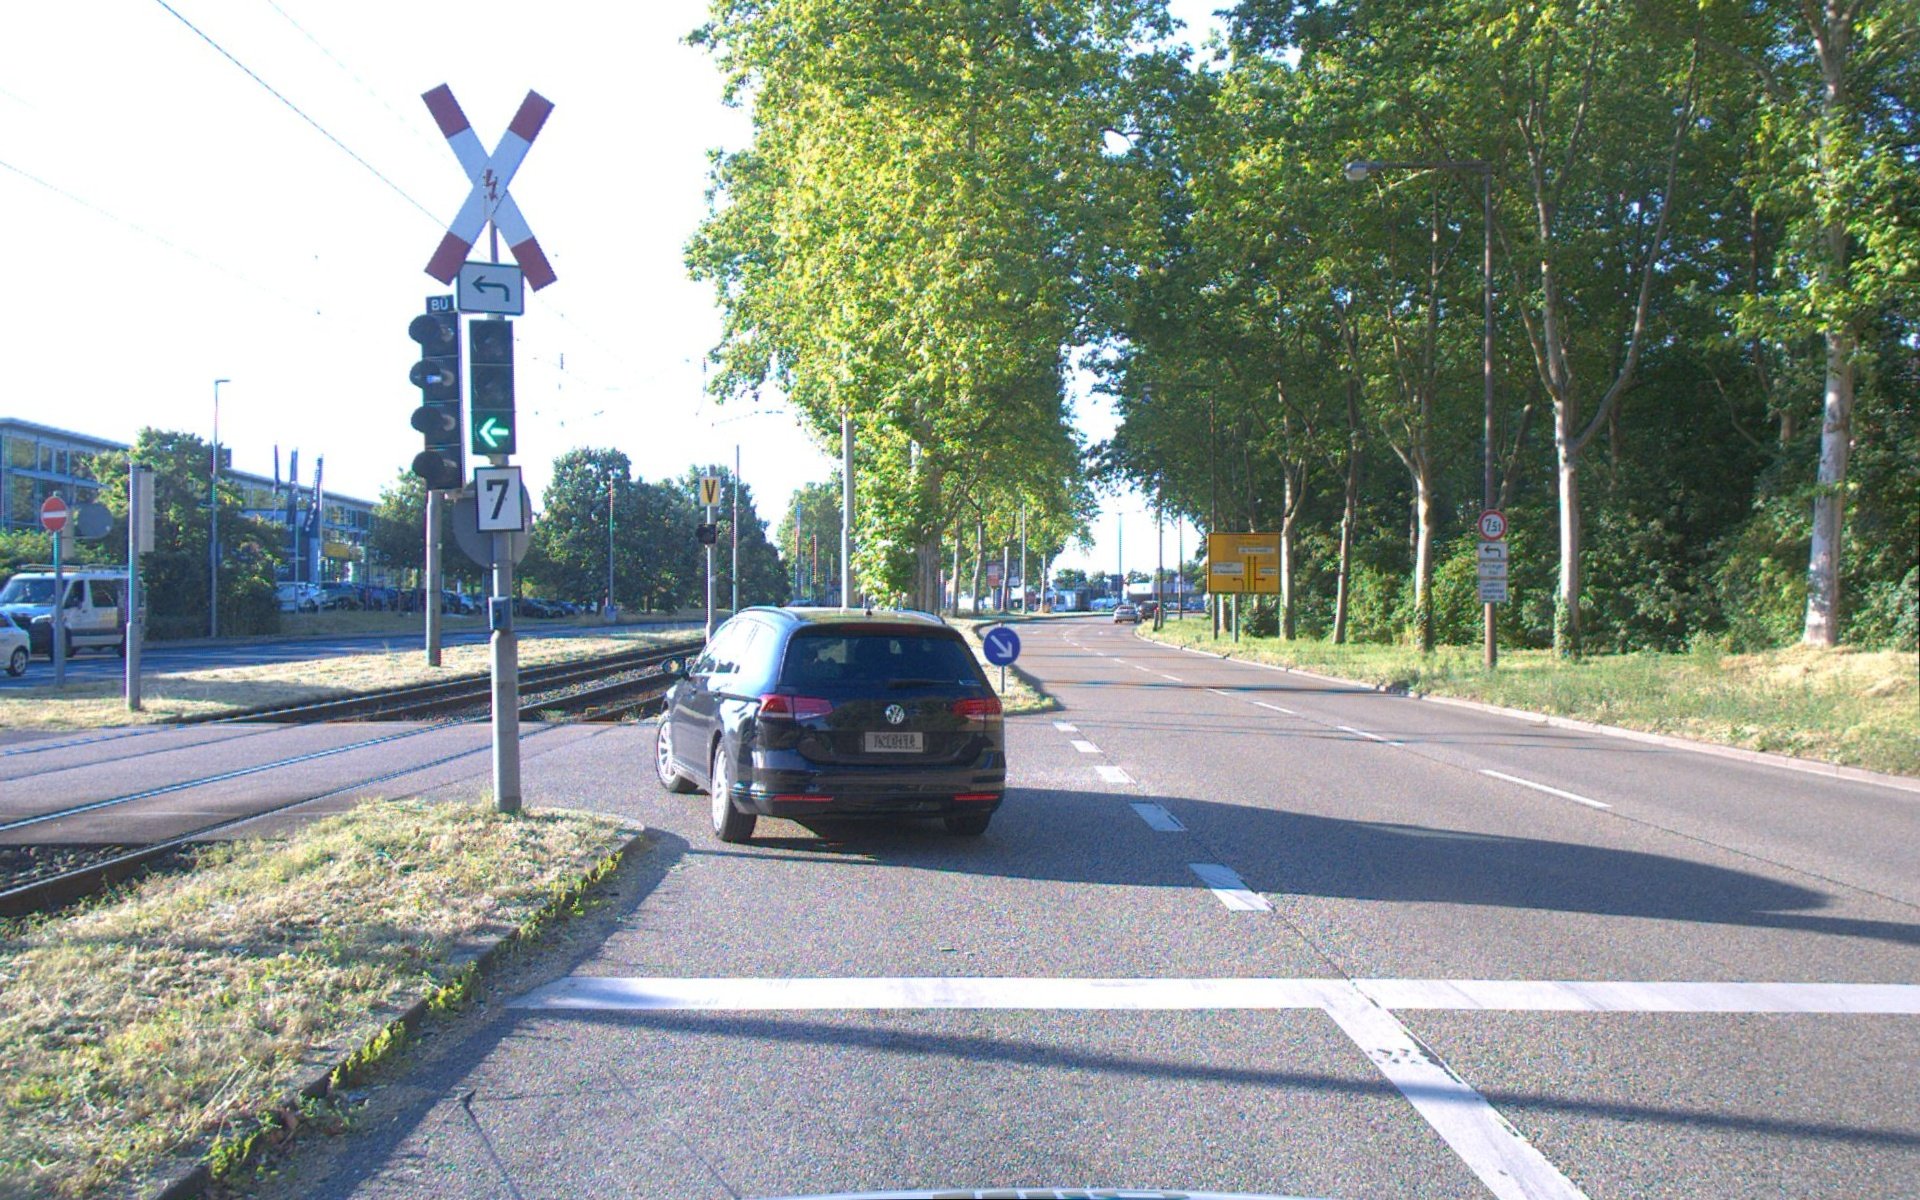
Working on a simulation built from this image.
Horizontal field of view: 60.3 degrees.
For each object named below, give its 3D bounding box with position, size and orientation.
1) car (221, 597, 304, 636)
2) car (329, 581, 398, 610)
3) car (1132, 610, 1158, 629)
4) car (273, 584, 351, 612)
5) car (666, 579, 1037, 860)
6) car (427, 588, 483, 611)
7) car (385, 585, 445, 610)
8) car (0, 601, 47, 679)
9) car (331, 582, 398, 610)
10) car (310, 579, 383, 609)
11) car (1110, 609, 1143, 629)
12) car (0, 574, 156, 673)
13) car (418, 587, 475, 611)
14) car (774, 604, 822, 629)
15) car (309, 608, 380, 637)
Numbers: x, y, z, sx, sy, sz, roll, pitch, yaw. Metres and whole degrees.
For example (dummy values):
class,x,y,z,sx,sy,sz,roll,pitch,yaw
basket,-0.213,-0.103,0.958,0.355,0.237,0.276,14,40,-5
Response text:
class,x,y,z,sx,sy,sz,roll,pitch,yaw
car,-35.442,0.855,84.157,3.731,1.892,1.749,1,-1,-20
car,-35.122,-0.269,97.472,3.731,1.594,1.749,1,-1,-20
car,14.800,1.543,132.178,1.951,1.465,4.003,1,-1,8
car,-34.260,-0.084,87.508,3.731,1.413,1.749,1,-1,-20
car,-0.965,0.705,11.609,1.794,1.583,4.241,1,-1,-15
car,-36.127,-0.031,118.358,3.731,1.594,1.749,1,-1,-20
car,-36.027,-0.138,109.397,3.731,1.594,1.749,1,-1,-20
car,-21.204,0.835,34.750,1.832,1.646,3.999,1,-1,-1
car,-36.035,-0.208,100.123,3.731,1.594,1.749,1,-1,-20
car,-34.012,-0.321,91.807,3.731,1.594,1.749,1,-1,-20
car,12.302,1.403,122.025,1.951,1.467,4.003,1,-1,12
car,-25.232,0.639,46.859,1.962,2.611,5.875,1,-1,0
car,-35.873,-0.061,115.572,3.731,1.594,1.749,1,-1,-20
car,-11.598,1.189,118.693,1.771,1.713,3.999,0,0,22
car,-35.049,1.274,94.244,3.731,1.594,1.749,1,-1,-20
